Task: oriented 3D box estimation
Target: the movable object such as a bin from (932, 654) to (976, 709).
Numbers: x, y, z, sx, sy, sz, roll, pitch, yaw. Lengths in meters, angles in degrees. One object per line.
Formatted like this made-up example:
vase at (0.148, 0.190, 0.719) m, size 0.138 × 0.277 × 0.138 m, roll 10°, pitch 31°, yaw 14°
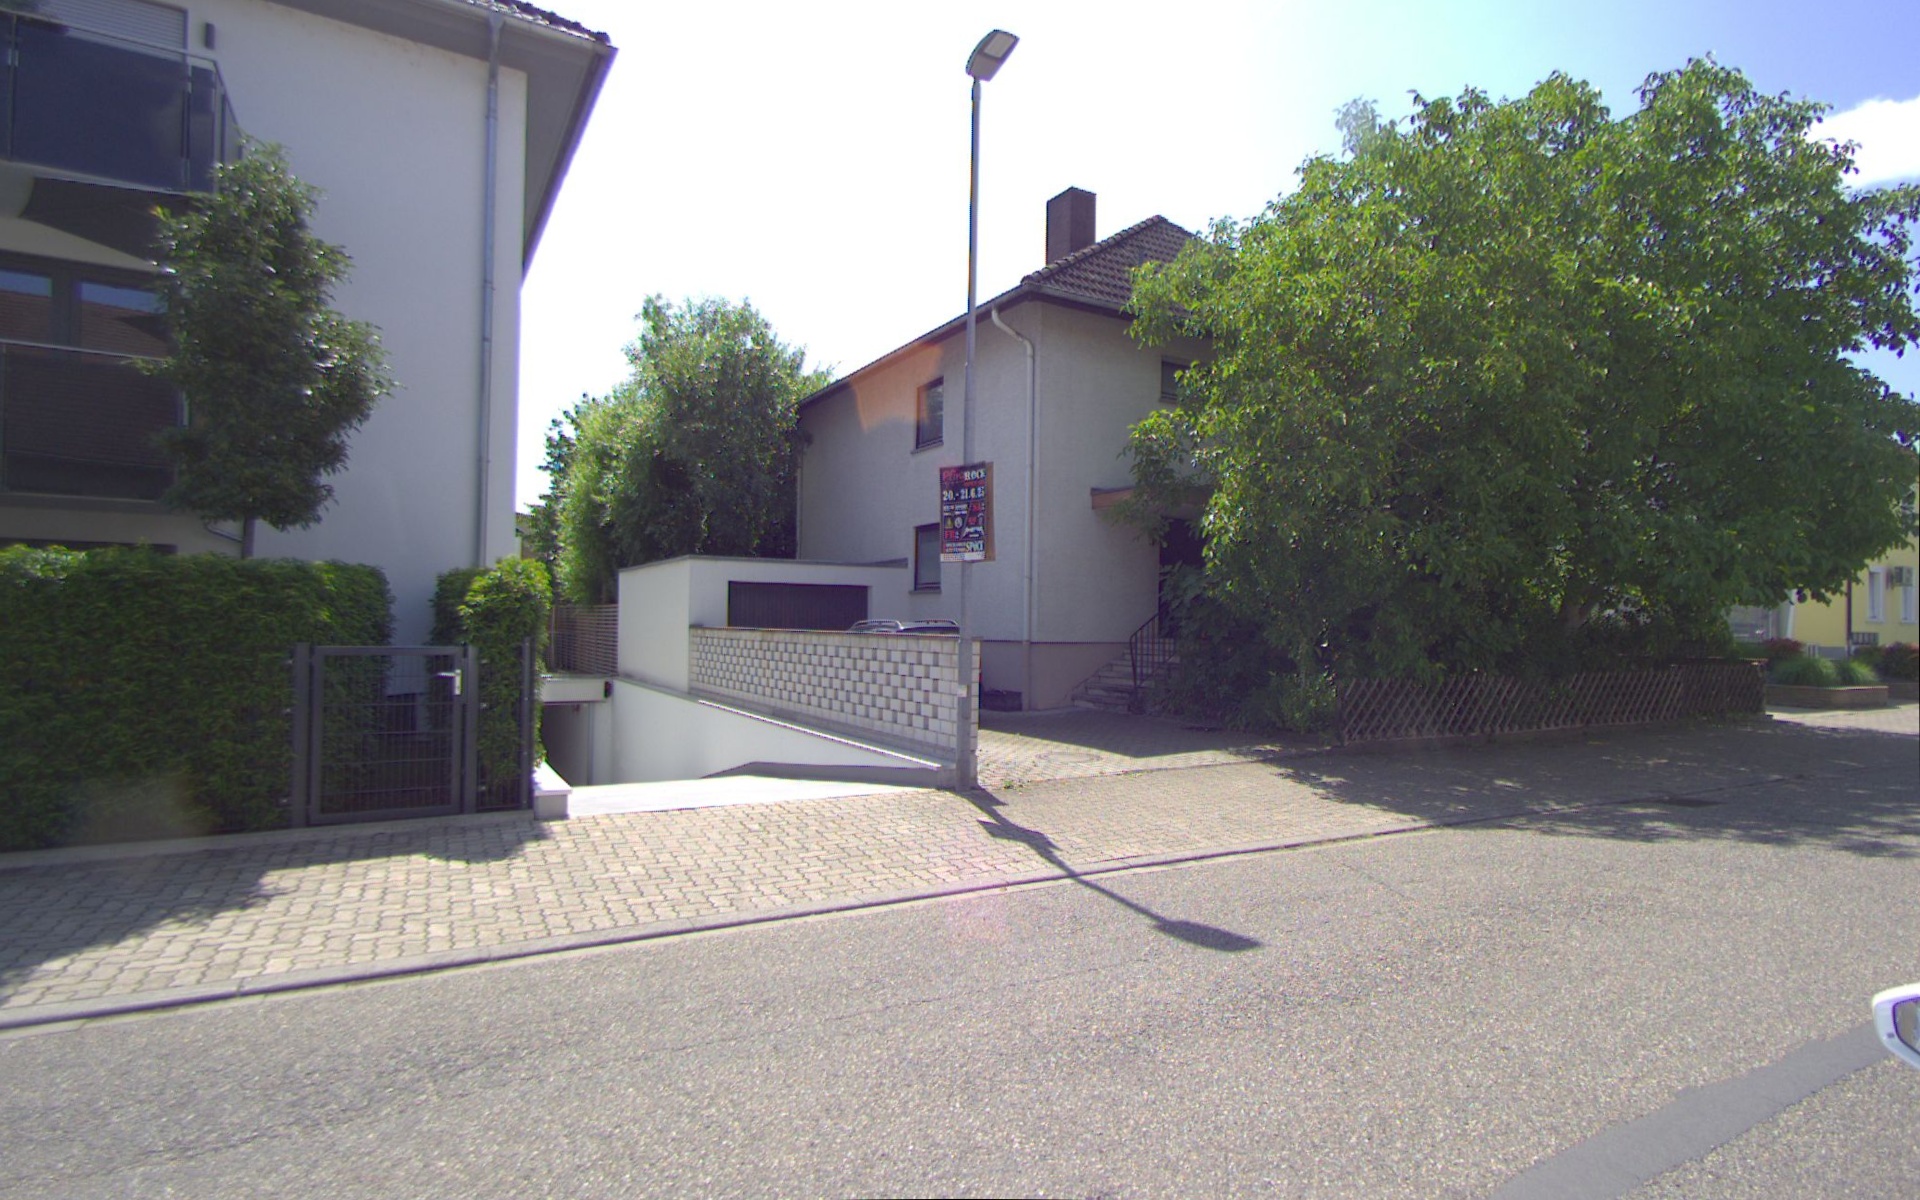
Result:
movable object such as a bin at (-0.103, 1.418, 17.573) m, size 0.522 × 0.912 × 0.624 m, roll 2°, pitch 0°, yaw -28°

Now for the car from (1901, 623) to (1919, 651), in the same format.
car at (55.111, 2.206, 55.585) m, size 4.172 × 1.508 × 1.748 m, roll 4°, pitch 3°, yaw 3°

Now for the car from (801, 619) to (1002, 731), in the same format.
car at (-1.060, 1.066, 15.901) m, size 1.771 × 1.512 × 3.898 m, roll 0°, pitch -1°, yaw -27°
